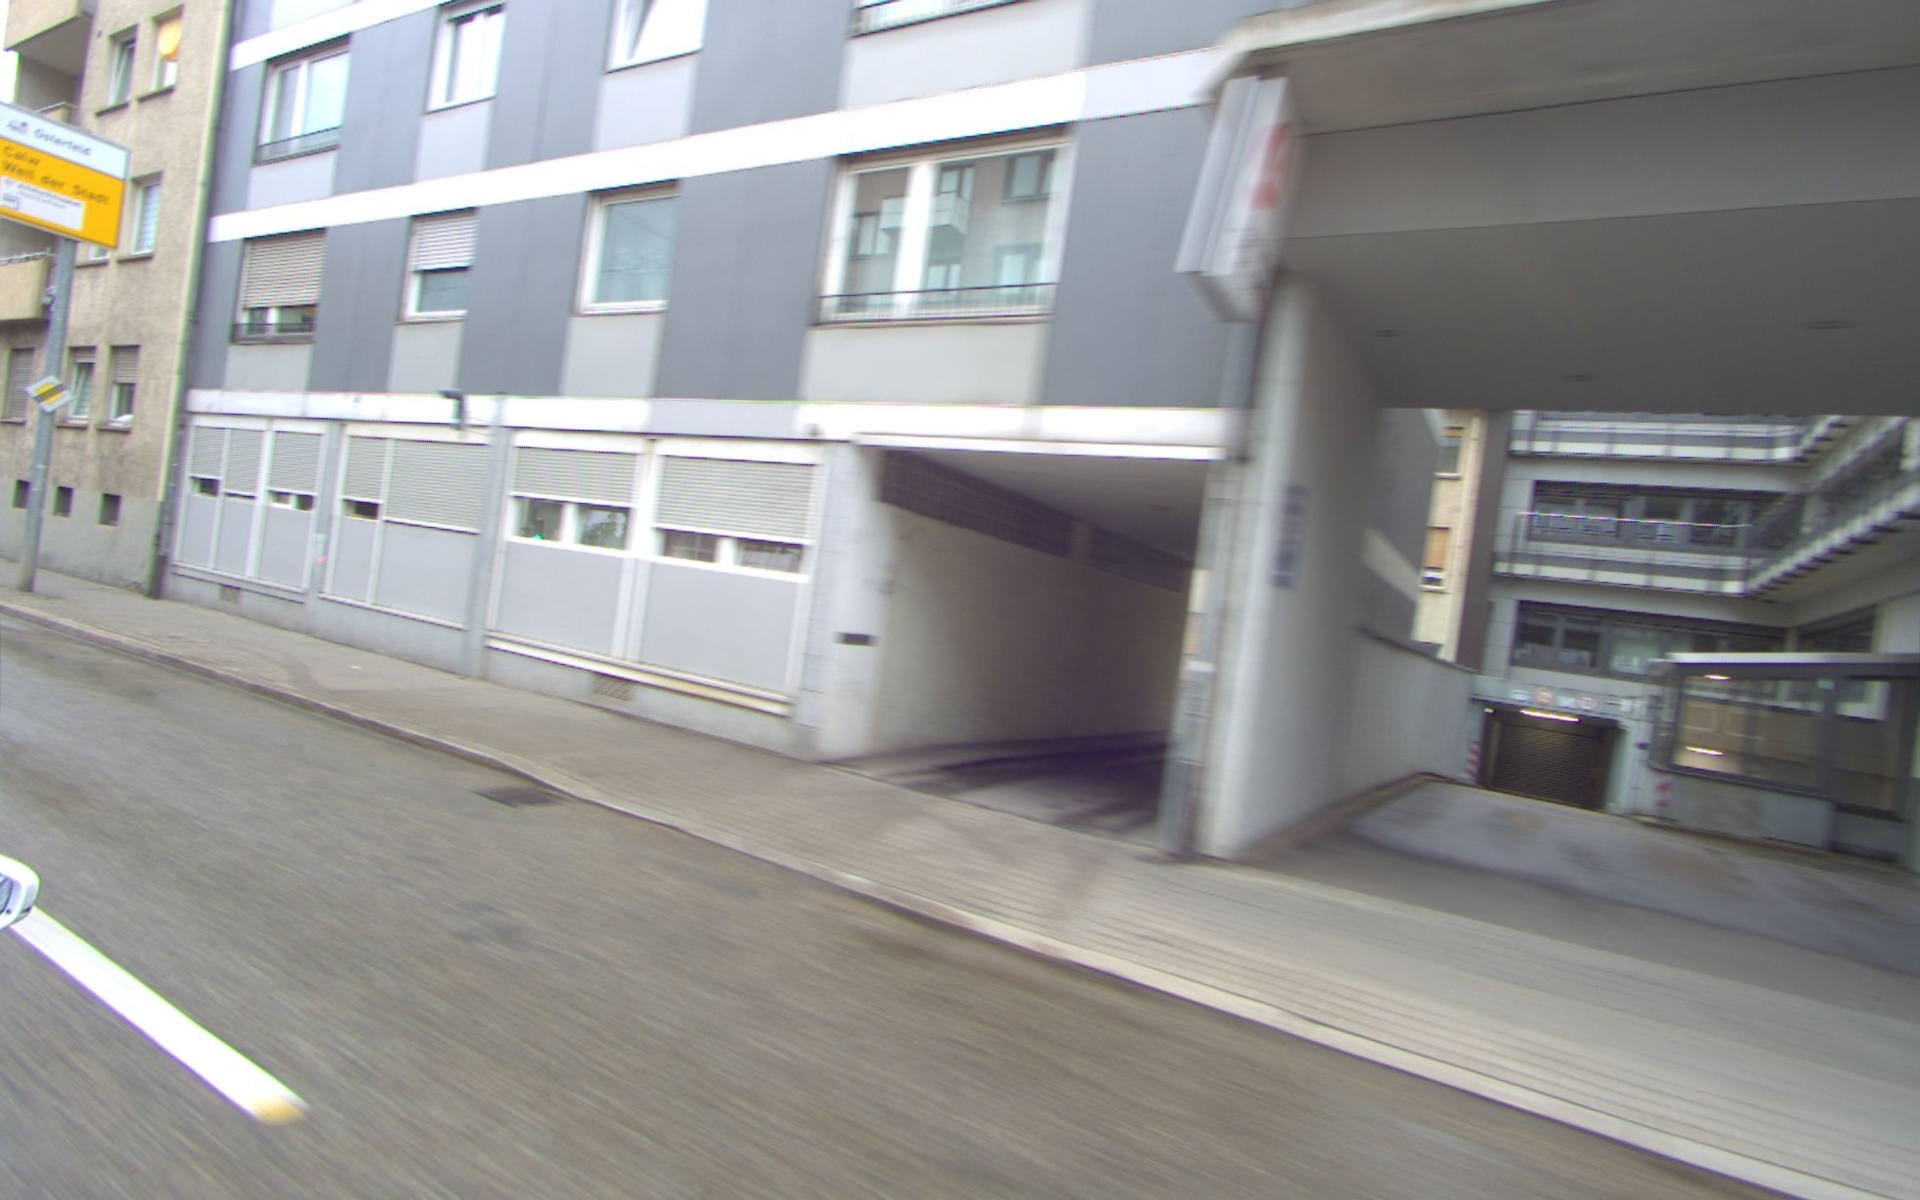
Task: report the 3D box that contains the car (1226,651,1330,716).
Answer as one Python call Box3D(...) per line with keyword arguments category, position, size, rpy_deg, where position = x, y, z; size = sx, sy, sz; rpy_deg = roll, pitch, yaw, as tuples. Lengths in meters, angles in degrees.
Box3D(category="car", position=(8.578, 2.233, 26.993), size=(1.634, 1.460, 3.289), rpy_deg=(6, -1, 36))

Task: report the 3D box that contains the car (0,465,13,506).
Box3D(category="car", position=(-43.648, -5.251, 44.717), size=(3.947, 1.741, 1.981), rpy_deg=(7, 1, 44))
